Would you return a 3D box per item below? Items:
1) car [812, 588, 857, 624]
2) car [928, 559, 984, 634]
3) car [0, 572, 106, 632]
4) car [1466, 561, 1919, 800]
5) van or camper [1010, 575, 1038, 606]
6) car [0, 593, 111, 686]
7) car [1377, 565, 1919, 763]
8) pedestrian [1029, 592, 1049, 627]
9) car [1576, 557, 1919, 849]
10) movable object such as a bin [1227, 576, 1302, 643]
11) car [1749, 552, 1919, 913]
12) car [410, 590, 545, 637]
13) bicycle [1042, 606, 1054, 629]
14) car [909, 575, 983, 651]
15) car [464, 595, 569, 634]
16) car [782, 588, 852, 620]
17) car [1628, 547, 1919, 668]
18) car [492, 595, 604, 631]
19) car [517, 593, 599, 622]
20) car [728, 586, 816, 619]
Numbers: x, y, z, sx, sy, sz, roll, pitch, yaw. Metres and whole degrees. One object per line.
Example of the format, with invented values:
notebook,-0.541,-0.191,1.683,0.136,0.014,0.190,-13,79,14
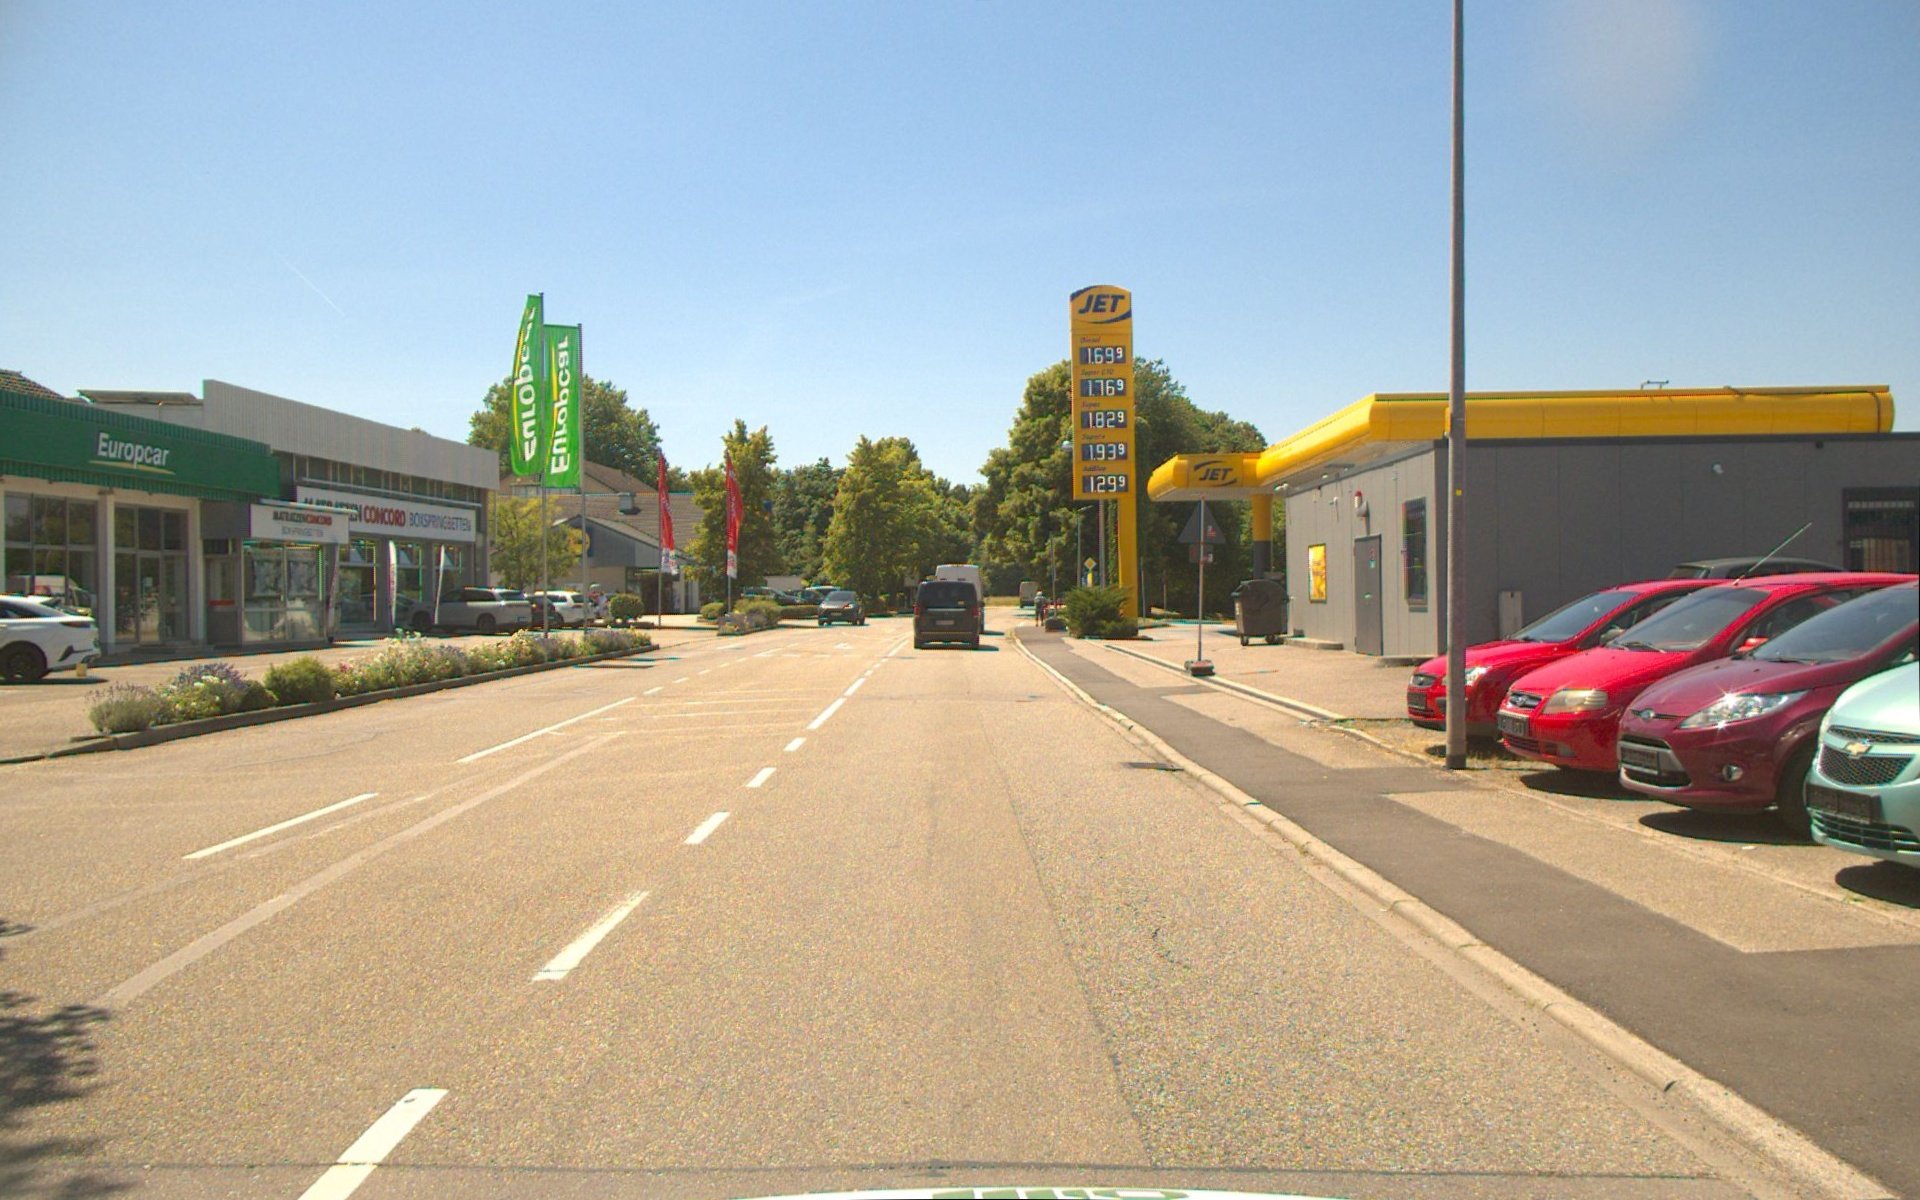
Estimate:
car,-5.780,0.268,76.450,1.726,1.553,4.137,-2,0,0
car,-0.146,-0.122,64.541,2.035,2.750,4.666,2,0,0
car,-42.892,0.095,77.674,2.233,2.673,5.901,1,0,2
car,5.918,0.540,12.523,3.612,1.594,1.707,-2,0,-4
van or camper,6.467,-0.957,166.751,2.578,2.980,5.206,1,0,0
car,-16.176,0.635,26.662,4.282,1.464,1.926,0,0,-23
car,6.115,0.526,14.996,4.139,1.561,1.958,-1,1,-2
pedestrian,3.279,0.390,68.927,0.752,1.446,0.868,0,0,8
car,5.954,0.528,10.217,3.612,1.594,1.748,-2,0,-5
movable object such as a bin,7.041,0.210,38.328,1.405,1.463,1.468,-2,0,0
car,6.002,0.532,7.975,3.611,1.594,1.641,-1,0,-3
car,-17.731,0.478,60.799,4.435,1.693,2.001,0,0,18
bicycle,3.665,0.714,68.751,0.370,0.928,1.599,0,0,8
car,-0.443,0.356,47.374,1.953,1.987,5.003,2,0,-1
car,-17.622,0.556,65.788,3.550,1.500,2.001,0,0,18
car,-9.058,0.252,104.977,4.266,2.015,1.905,0,-1,1
car,12.173,0.107,24.355,3.904,1.686,1.948,0,0,2
car,-17.077,0.521,68.586,4.095,1.472,1.981,0,0,16
car,-23.455,0.440,96.586,4.224,1.684,2.114,0,-1,0
car,-10.752,0.155,94.805,4.607,1.793,2.100,0,-1,8
